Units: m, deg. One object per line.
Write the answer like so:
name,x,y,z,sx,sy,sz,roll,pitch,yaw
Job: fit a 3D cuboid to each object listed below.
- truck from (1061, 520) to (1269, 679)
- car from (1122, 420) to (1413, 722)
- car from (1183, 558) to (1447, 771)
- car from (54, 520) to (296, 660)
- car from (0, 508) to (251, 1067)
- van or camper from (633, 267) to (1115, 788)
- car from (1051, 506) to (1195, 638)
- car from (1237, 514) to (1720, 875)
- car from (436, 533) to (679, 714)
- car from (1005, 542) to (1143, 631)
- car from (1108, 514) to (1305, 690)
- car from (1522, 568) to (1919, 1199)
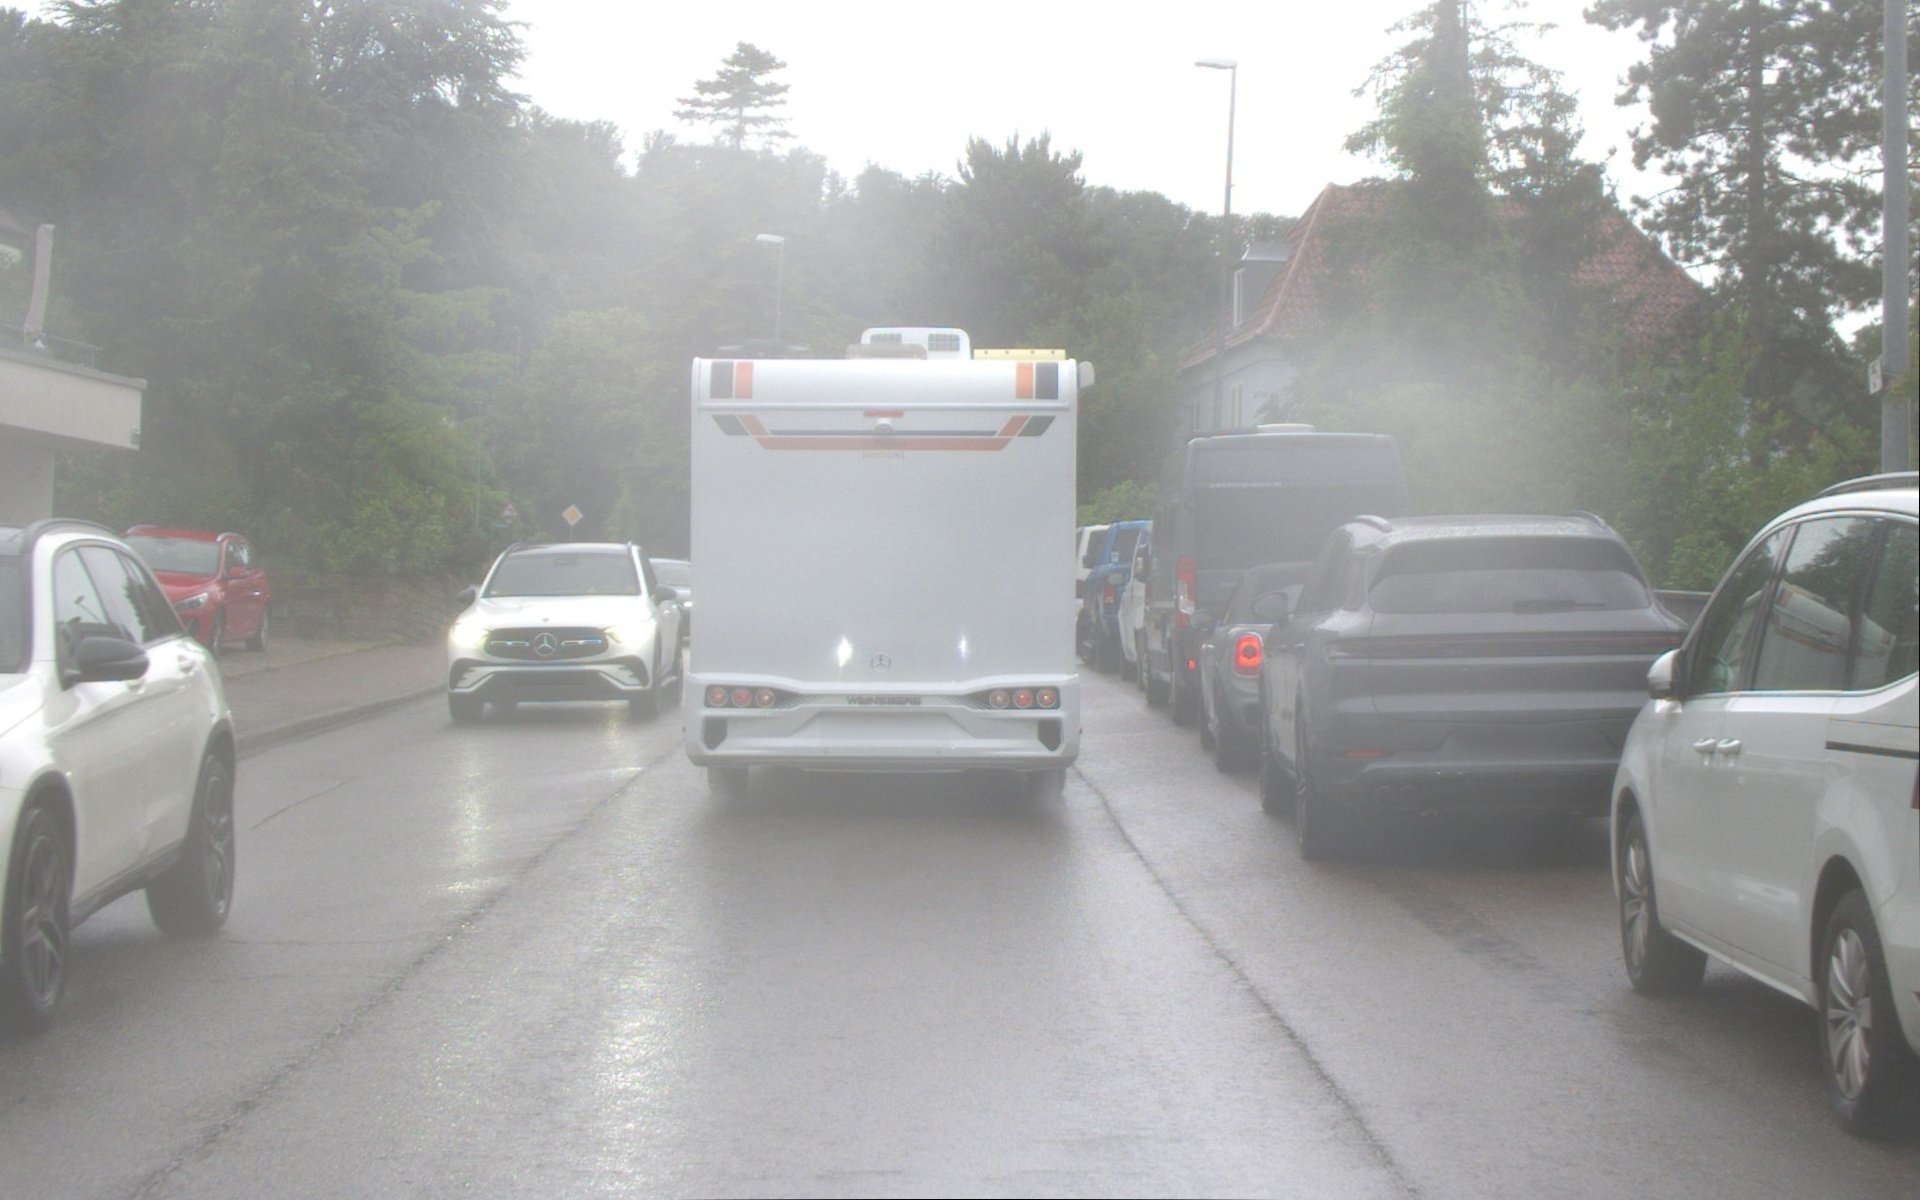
truck,2.587,-0.050,45.054,2.113,1.845,6.619,2,1,-1
car,2.684,-0.275,31.426,2.031,2.497,5.956,0,1,-1
car,2.507,0.413,24.992,1.589,1.424,3.797,0,1,1
car,-9.356,-0.141,41.335,1.774,1.432,4.588,5,1,0
car,-3.779,0.484,11.856,1.906,1.602,4.429,1,1,-3
van or camper,-0.486,-0.360,22.299,2.616,2.843,6.031,2,-1,0
car,2.499,-0.451,53.825,1.860,1.914,5.080,1,1,-1
car,2.590,0.412,18.264,1.936,1.666,4.694,0,1,1
car,-3.726,0.174,32.503,1.798,1.562,4.384,1,1,-1
car,1.939,-0.251,59.624,1.685,1.452,4.058,1,1,-8
car,2.701,-0.011,38.694,1.827,1.836,5.270,0,1,0
car,3.089,0.748,10.196,1.846,1.678,5.639,0,0,-1
